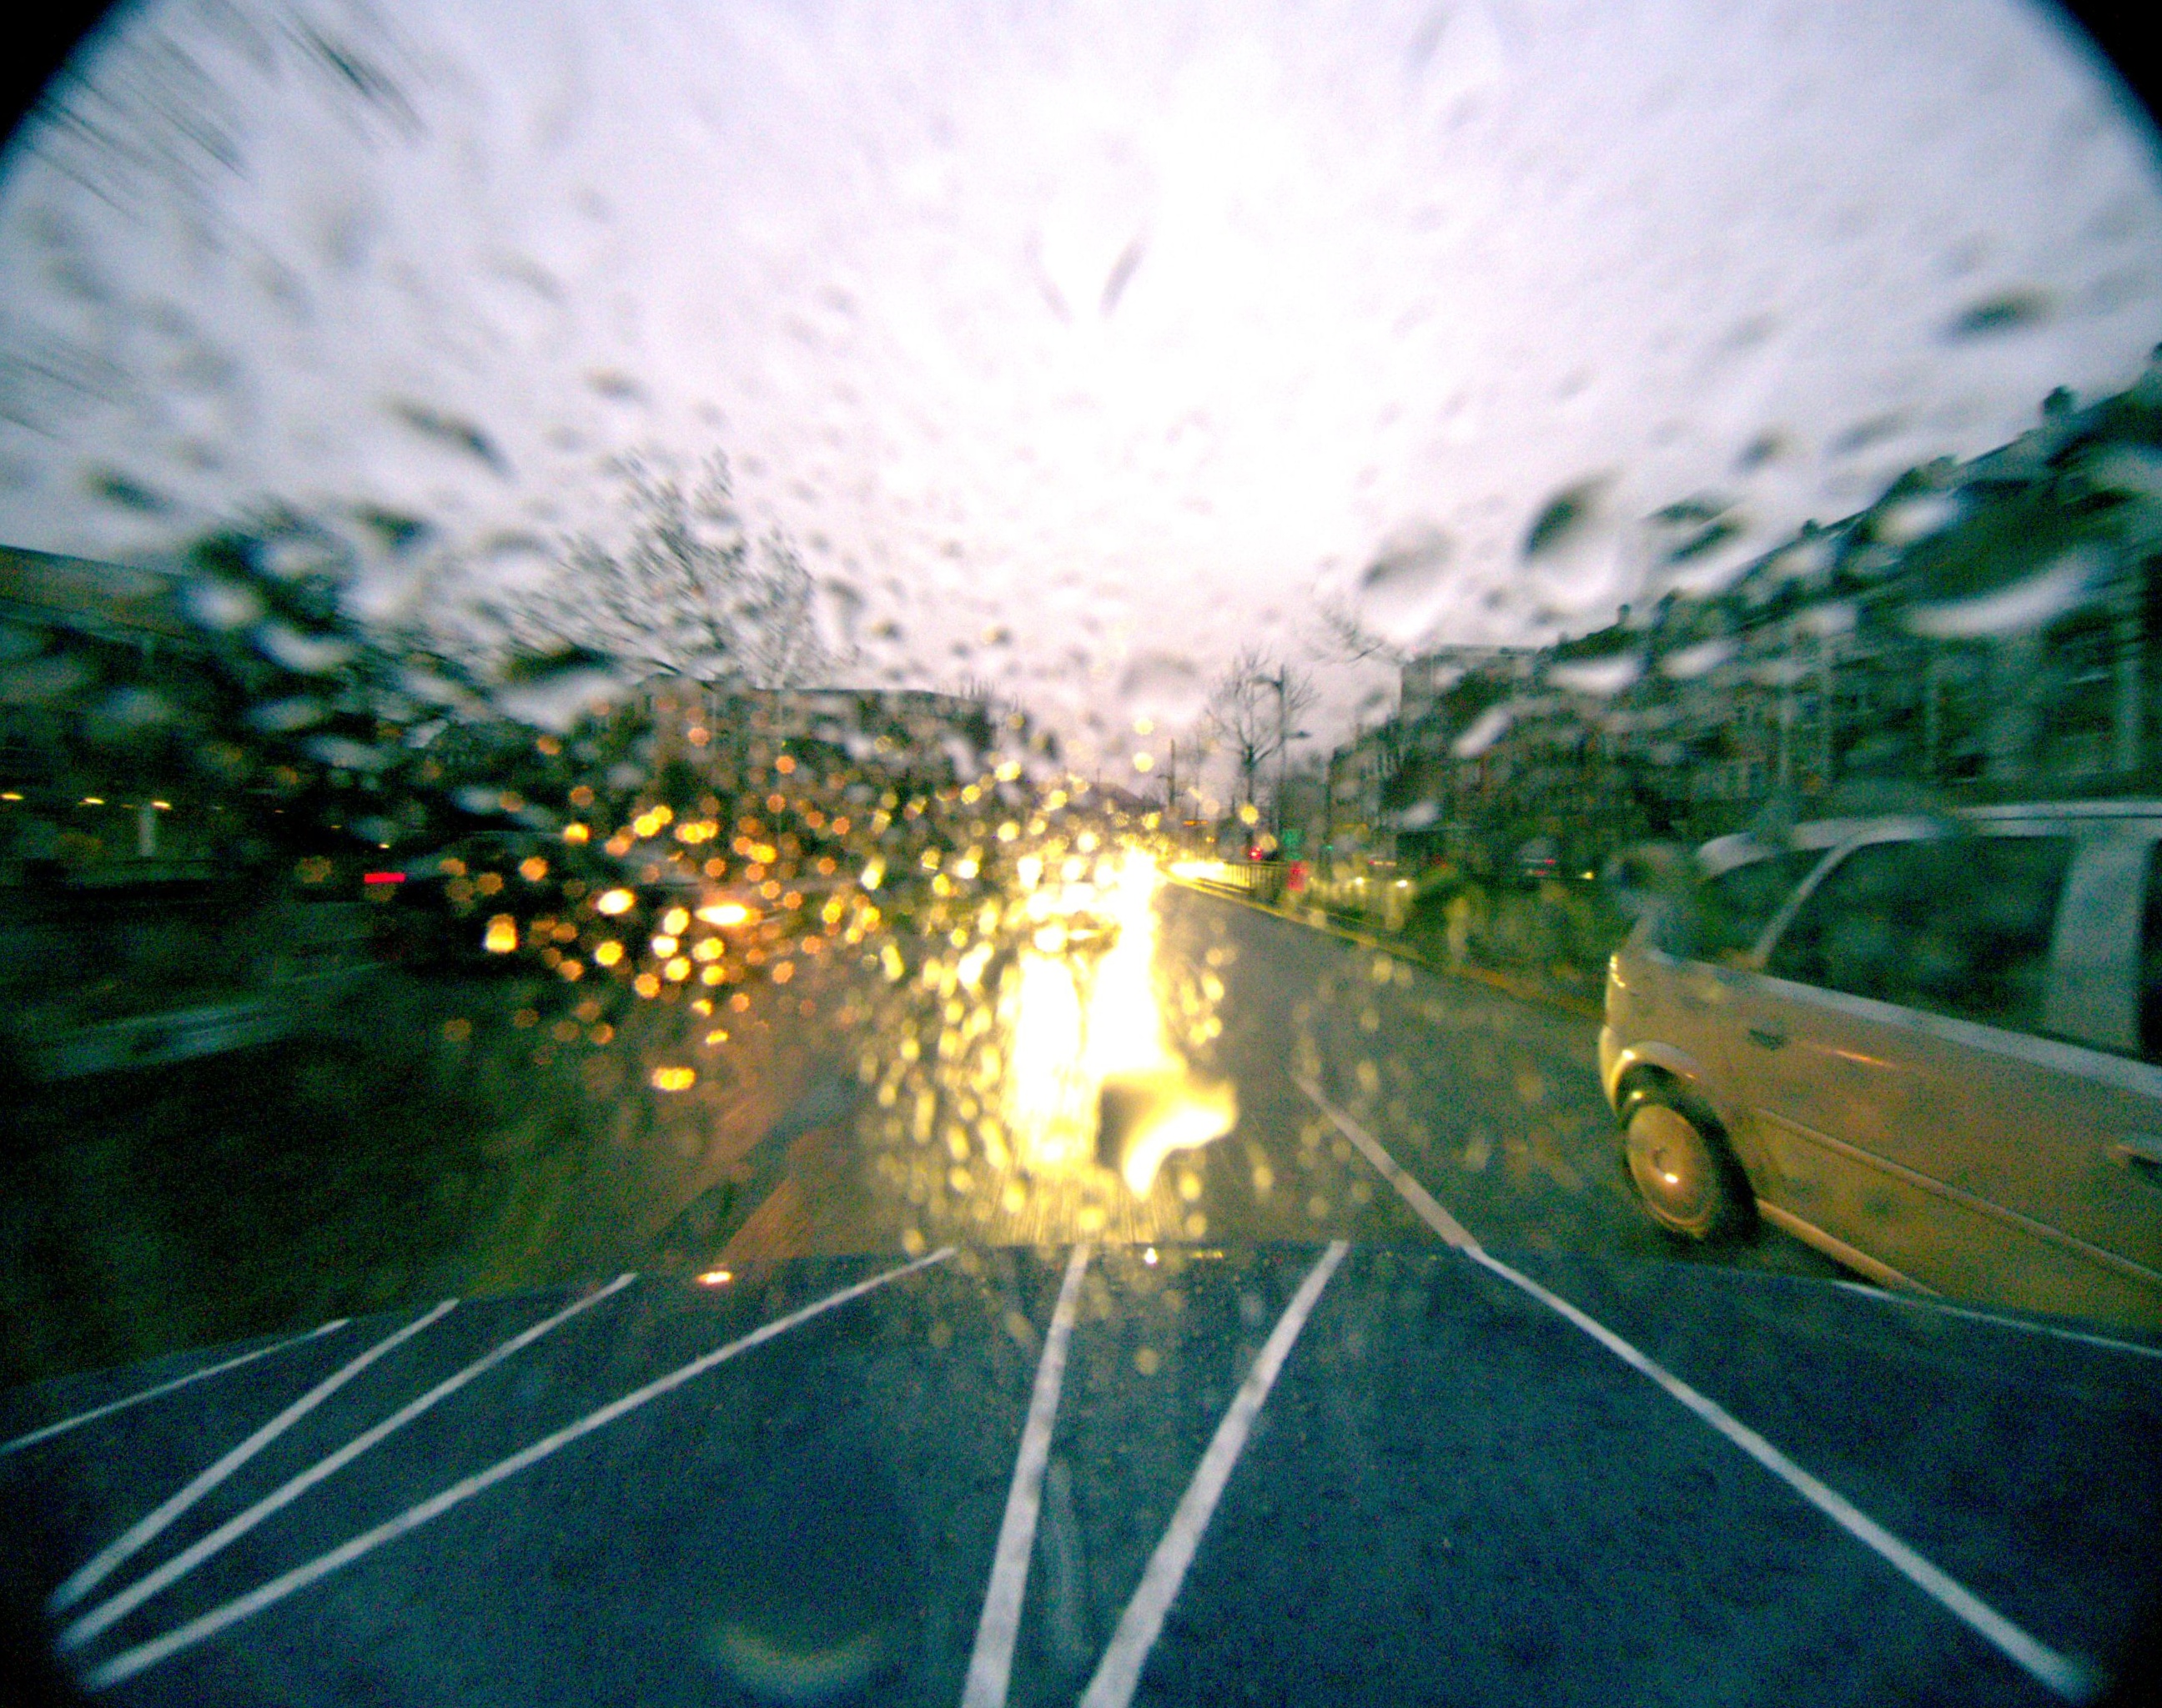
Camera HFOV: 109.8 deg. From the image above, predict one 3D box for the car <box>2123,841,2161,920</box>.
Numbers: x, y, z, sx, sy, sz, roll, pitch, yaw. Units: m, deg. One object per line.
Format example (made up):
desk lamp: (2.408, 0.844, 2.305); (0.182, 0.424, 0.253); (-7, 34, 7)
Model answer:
car: (23.473, 0.554, 14.438); (1.869, 1.628, 4.000); (-2, 1, 1)

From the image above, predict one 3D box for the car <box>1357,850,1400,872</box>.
car: (23.214, 0.521, 59.465); (1.683, 1.526, 3.748); (2, 1, -3)

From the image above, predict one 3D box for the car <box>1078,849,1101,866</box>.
car: (0.715, 0.259, 63.287); (1.813, 1.385, 4.053); (-1, 1, 1)

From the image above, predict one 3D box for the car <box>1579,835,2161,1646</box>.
car: (3.020, 0.754, 1.222); (1.814, 1.591, 4.053); (-1, 1, 1)

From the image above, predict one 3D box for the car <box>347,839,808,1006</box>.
car: (-5.378, 0.669, 8.480); (3.996, 1.547, 1.742); (2, 1, 2)

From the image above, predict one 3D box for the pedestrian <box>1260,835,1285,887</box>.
pedestrian: (7.584, 0.251, 30.148); (0.876, 2.002, 0.931); (2, 1, 12)

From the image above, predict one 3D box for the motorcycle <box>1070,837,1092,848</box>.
motorcycle: (0.051, -2.106, 140.027); (3.997, 2.002, 0.926); (-2, 2, 1)

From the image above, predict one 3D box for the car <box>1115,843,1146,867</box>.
car: (3.183, 0.048, 49.810); (1.813, 1.488, 4.053); (-1, 1, 1)

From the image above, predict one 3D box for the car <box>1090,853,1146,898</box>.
car: (1.234, 0.695, 26.639); (1.813, 1.385, 4.053); (-1, 1, 1)

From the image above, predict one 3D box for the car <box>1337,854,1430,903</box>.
car: (10.459, 0.792, 26.583); (1.668, 1.477, 3.999); (1, 1, 1)

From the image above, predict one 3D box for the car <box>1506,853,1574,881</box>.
car: (24.799, 0.675, 41.173); (1.682, 1.399, 3.259); (2, 1, 1)
